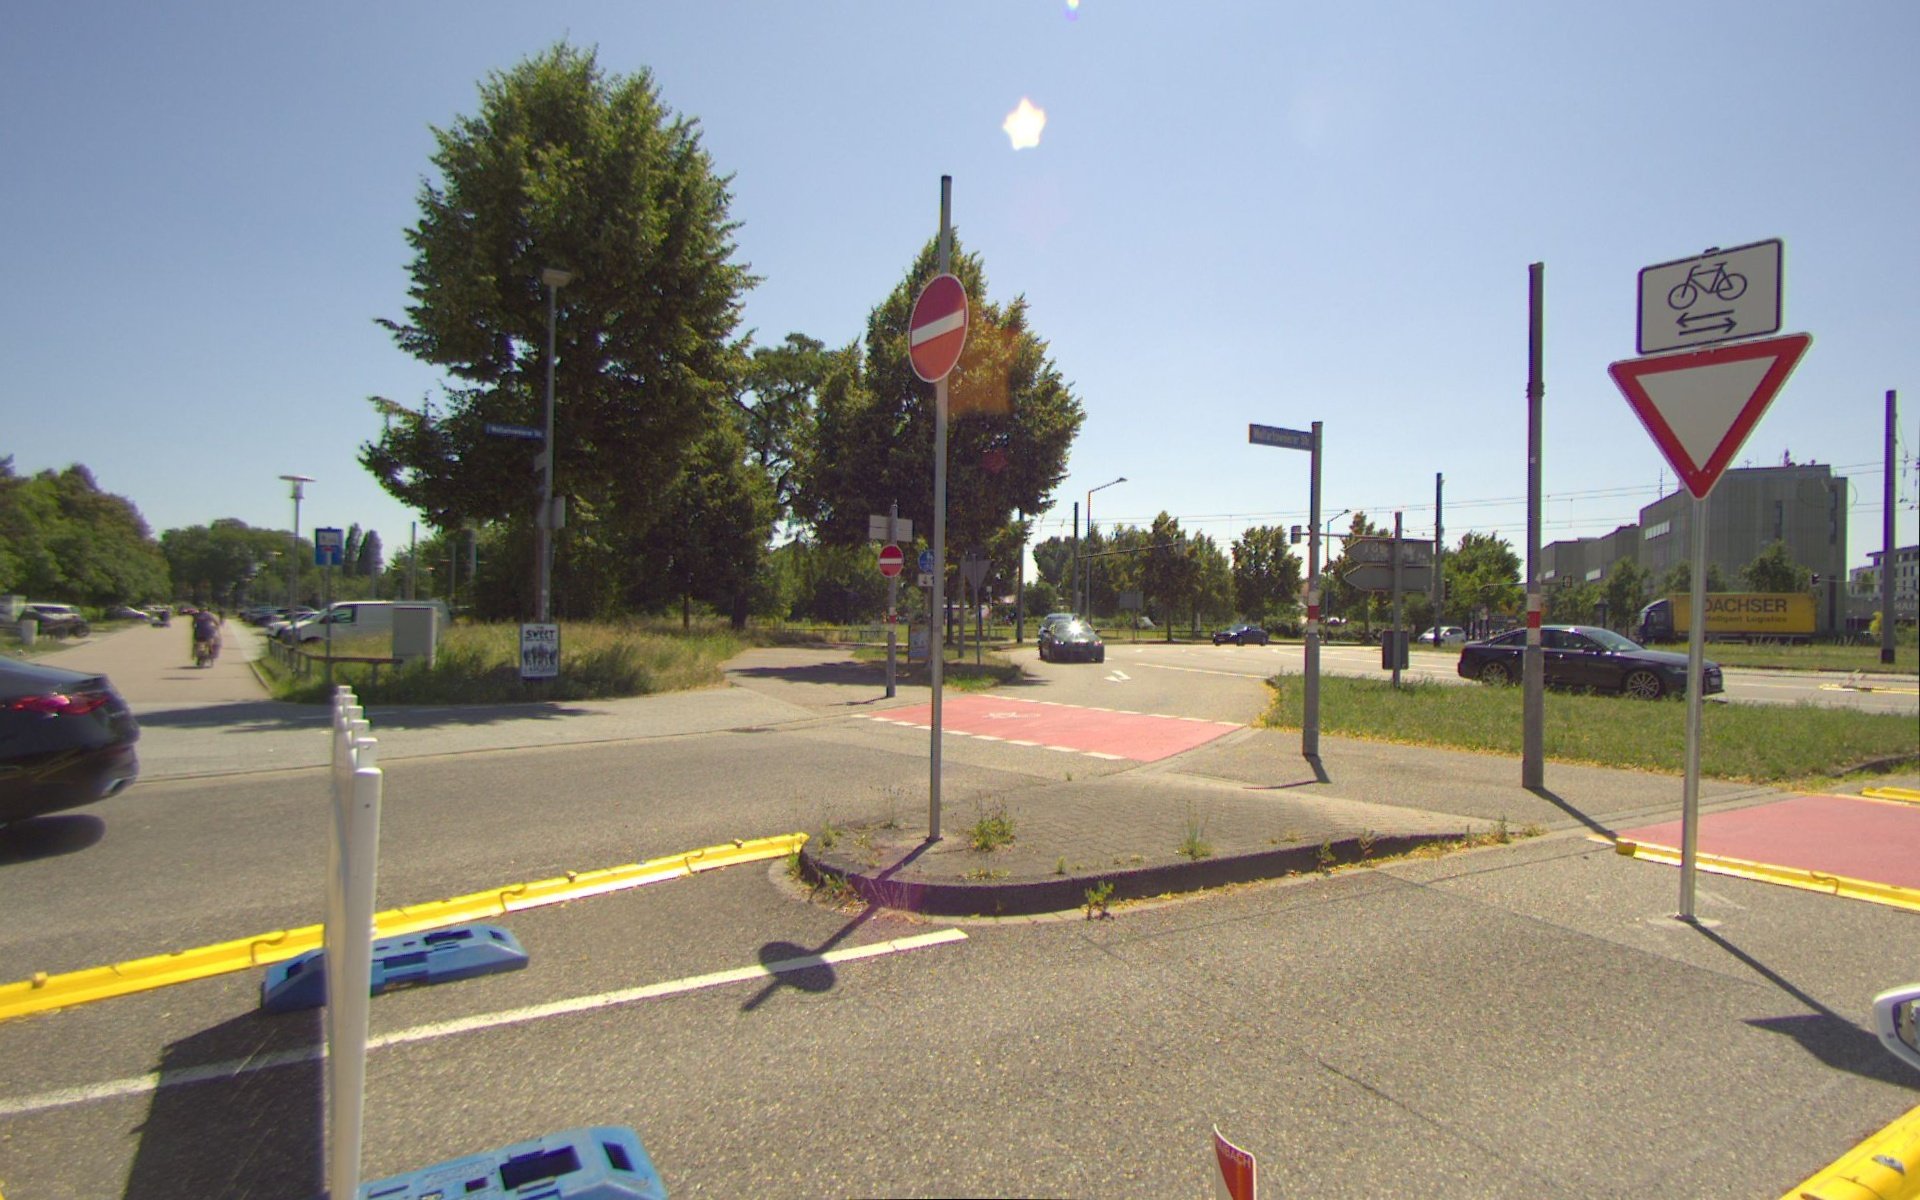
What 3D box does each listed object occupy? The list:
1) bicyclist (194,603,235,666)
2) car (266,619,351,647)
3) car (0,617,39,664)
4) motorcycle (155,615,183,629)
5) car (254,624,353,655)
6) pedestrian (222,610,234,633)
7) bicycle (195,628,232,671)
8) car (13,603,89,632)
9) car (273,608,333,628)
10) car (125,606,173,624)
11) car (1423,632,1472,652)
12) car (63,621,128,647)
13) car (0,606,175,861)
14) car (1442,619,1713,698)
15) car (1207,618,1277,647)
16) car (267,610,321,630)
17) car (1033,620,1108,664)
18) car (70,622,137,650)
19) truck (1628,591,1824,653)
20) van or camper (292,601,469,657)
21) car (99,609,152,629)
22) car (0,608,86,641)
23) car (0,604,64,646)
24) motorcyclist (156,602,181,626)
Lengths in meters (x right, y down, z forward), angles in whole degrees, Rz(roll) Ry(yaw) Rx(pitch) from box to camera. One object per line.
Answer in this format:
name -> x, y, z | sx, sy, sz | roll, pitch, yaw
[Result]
bicyclist -> -20.527, 0.945, 27.662 | 0.707, 1.659, 0.967 | 4, -2, -30
car -> -31.538, 1.592, 48.744 | 3.342, 1.298, 1.346 | 2, -1, -30
car -> -26.681, 1.056, 26.394 | 3.480, 1.233, 1.343 | 2, -1, -37
motorcycle -> -55.694, 1.520, 70.749 | 1.358, 0.934, 3.193 | 2, -1, -35
car -> -27.879, 1.686, 42.689 | 3.480, 1.233, 1.343 | 2, -1, -37
pedestrian -> -55.034, 1.615, 75.518 | 0.666, 1.686, 1.326 | 2, -1, -37
bicycle -> -20.545, 1.348, 27.674 | 0.544, 1.127, 1.664 | 4, -2, -30
car -> -43.696, 0.841, 48.324 | 2.499, 1.376, 1.075 | 2, -1, -30
car -> -43.677, 1.186, 66.838 | 3.189, 1.298, 1.346 | 2, -1, -31
car -> -93.247, 1.734, 115.514 | 3.953, 2.040, 1.984 | 2, -1, -30
car -> 37.463, 3.225, 77.128 | 4.989, 1.473, 1.803 | 2, -1, -44
car -> -47.760, 1.900, 55.536 | 2.499, 1.376, 1.075 | 2, -1, -30
car -> -7.100, 0.730, 5.263 | 4.600, 1.422, 1.799 | 2, -2, -42
car -> 13.168, 1.174, 21.709 | 1.979, 1.468, 4.607 | 1, -1, -33
car -> 17.889, 2.049, 63.615 | 4.911, 1.456, 1.837 | -3, 3, -39
car -> -52.222, 1.596, 78.782 | 3.505, 1.483, 1.534 | 2, -1, -35
car -> 3.831, 1.441, 35.479 | 1.690, 1.430, 4.614 | 1, -1, -6
car -> -54.926, 2.321, 64.467 | 3.206, 1.727, 1.492 | 2, -1, -40
truck -> 48.140, 1.326, 63.491 | 9.428, 3.707, 2.707 | 1, -1, 22
van or camper -> -20.509, 1.038, 35.688 | 5.225, 1.882, 1.979 | 2, -1, -38
car -> -87.142, 1.957, 104.949 | 3.953, 2.040, 1.984 | 2, -1, -30
car -> -40.215, 1.085, 44.008 | 2.716, 1.375, 1.163 | 2, -1, -30
car -> -33.491, 0.811, 34.544 | 3.773, 1.344, 1.642 | 4, -2, -36
motorcyclist -> -55.396, 0.961, 70.286 | 1.243, 1.630, 1.426 | 2, -1, -35
